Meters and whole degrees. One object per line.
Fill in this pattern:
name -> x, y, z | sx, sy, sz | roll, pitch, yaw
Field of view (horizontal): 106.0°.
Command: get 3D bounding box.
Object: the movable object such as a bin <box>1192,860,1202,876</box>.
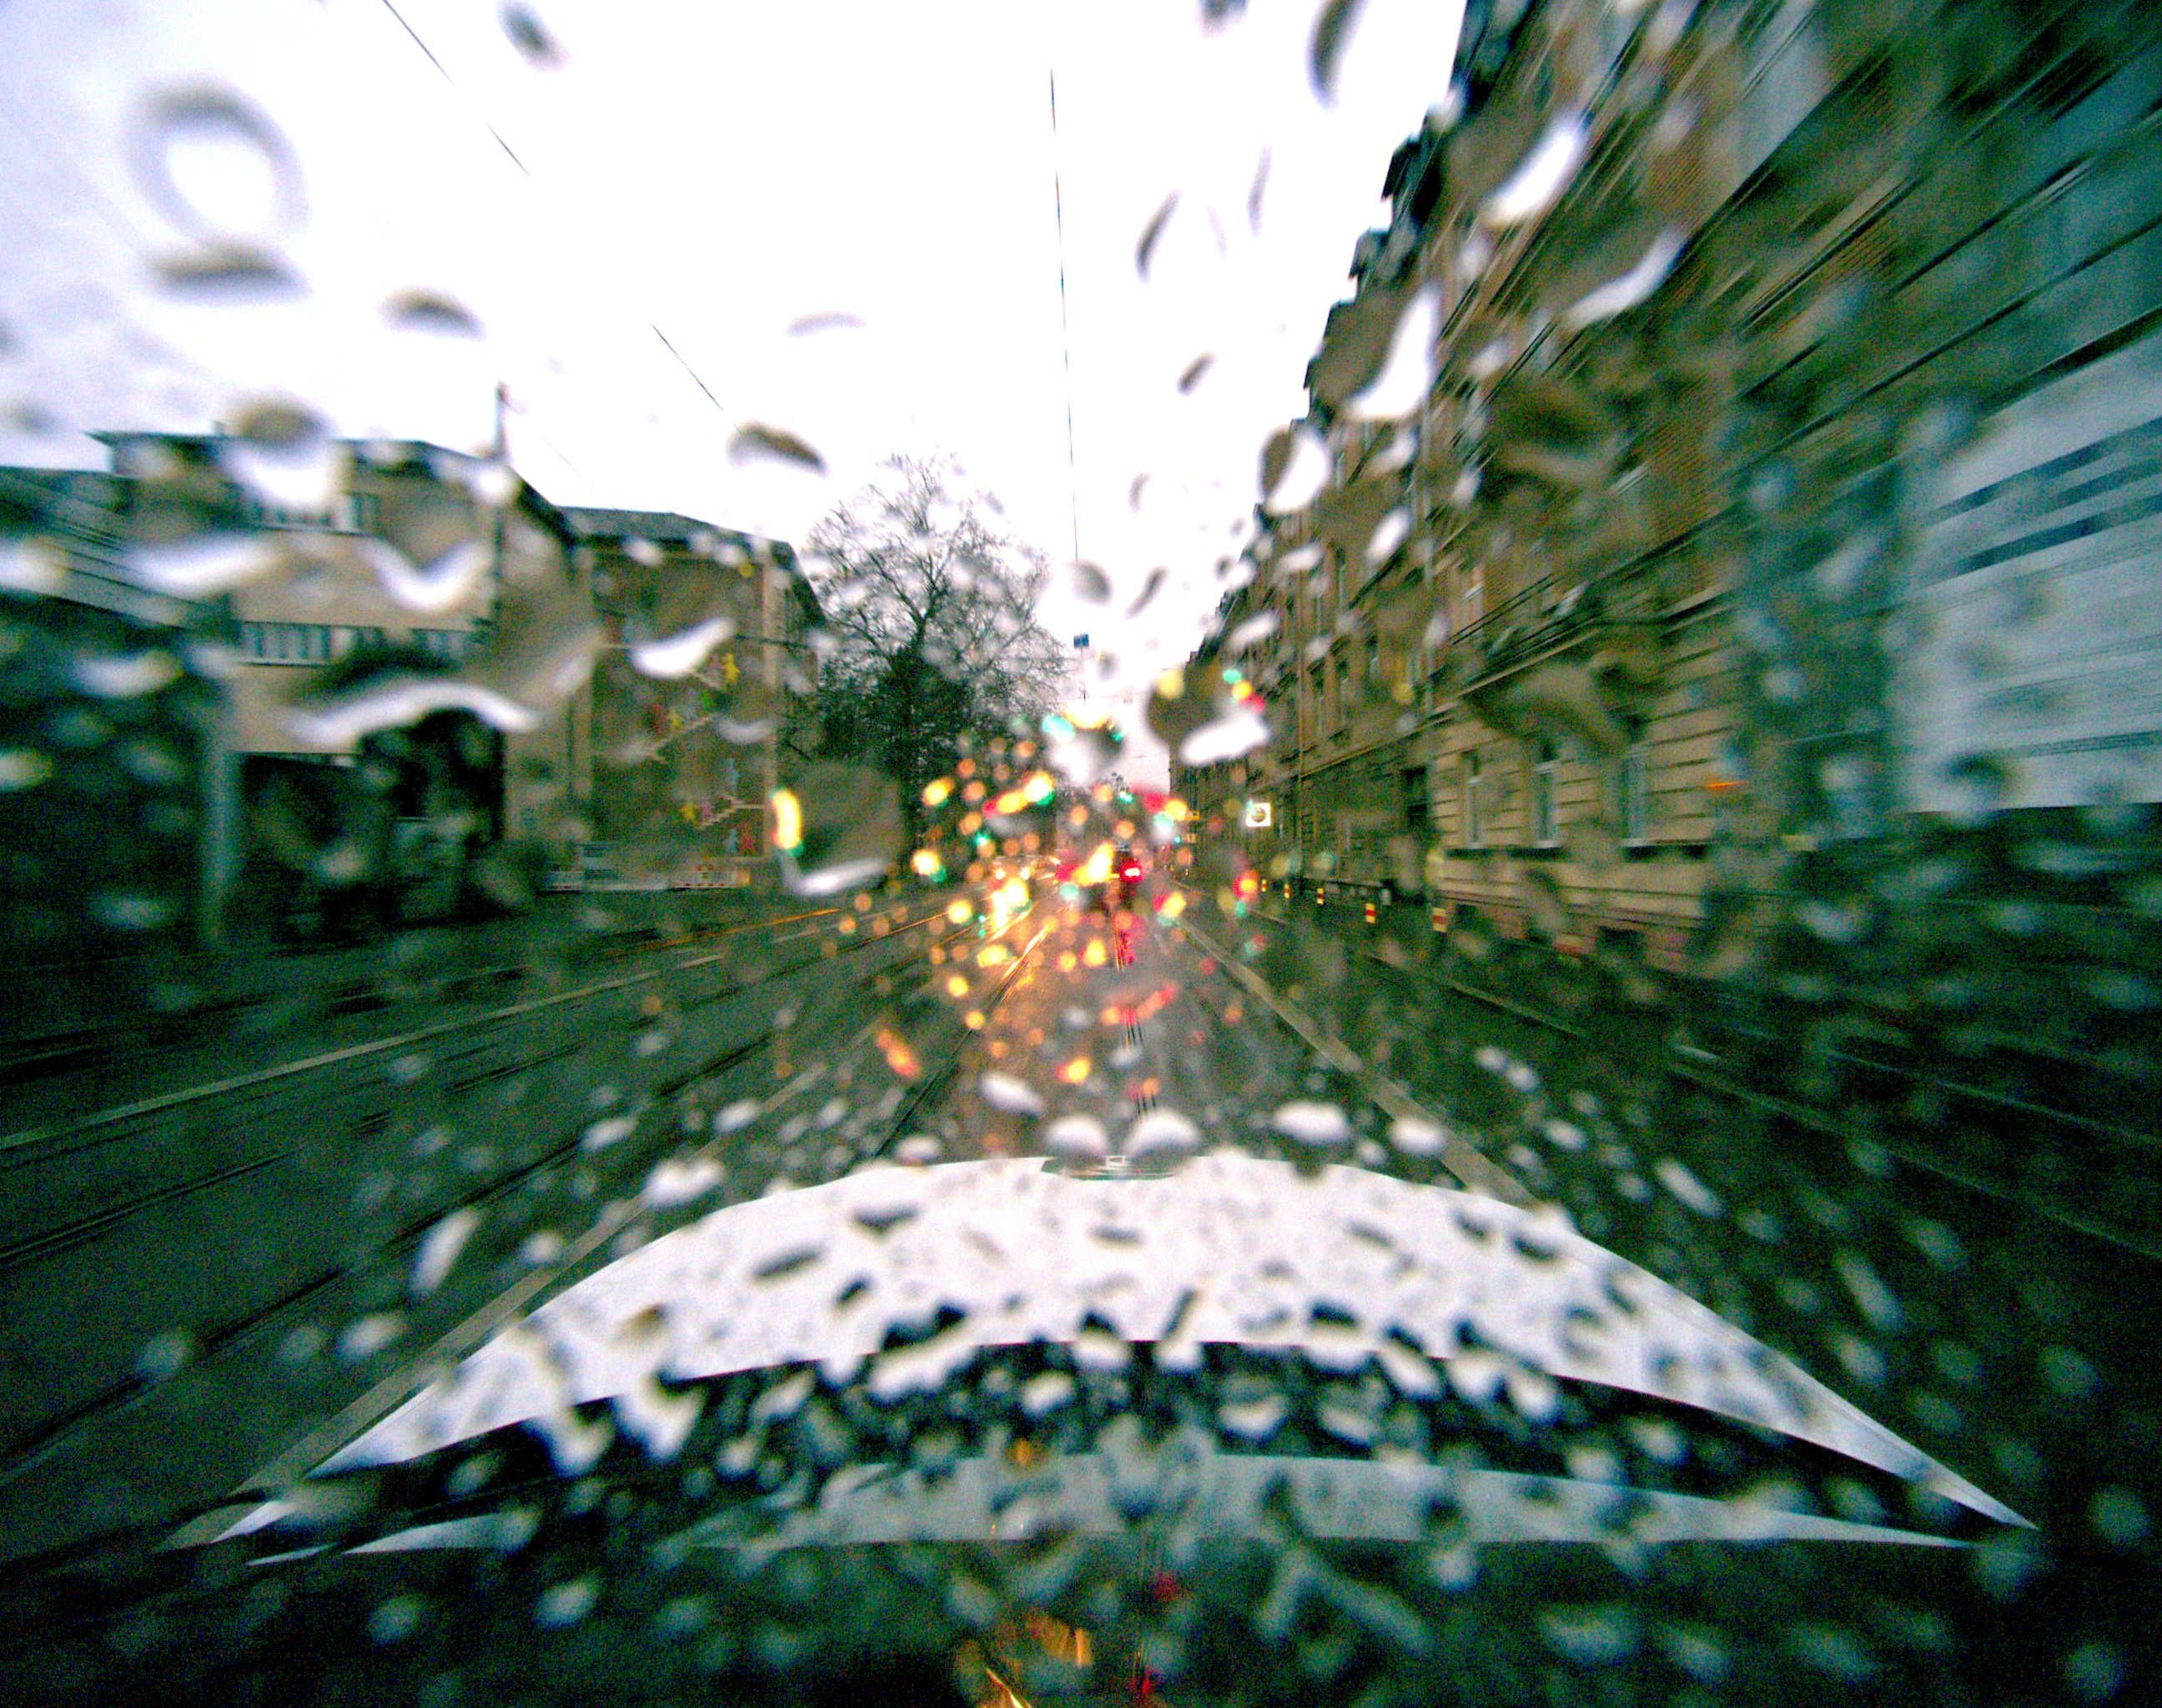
movable object such as a bin -> 8.139, 0.976, 57.010 | 0.638, 1.055, 0.744 | 0, -1, 2

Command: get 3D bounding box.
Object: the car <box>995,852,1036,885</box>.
car -> -3.056, 0.678, 38.700 | 1.524, 1.481, 3.563 | -1, 0, 2

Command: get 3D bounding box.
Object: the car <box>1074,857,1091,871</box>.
car -> 0.239, 1.387, 112.820 | 1.985, 2.014, 4.004 | 0, -1, 4

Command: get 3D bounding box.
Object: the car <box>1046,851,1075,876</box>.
car -> -1.950, 0.920, 79.739 | 2.437, 2.347, 5.847 | -1, -1, 2

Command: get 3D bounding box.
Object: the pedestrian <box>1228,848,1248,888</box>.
pedestrian -> 6.791, 0.585, 35.199 | 0.829, 1.701, 0.956 | 0, -1, 10

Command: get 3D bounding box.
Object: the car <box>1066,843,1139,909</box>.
car -> 0.737, 0.623, 24.678 | 1.984, 1.842, 4.005 | 0, 0, 4

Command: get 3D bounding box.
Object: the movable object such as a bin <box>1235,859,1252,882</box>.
movable object such as a bin -> 7.543, 0.756, 37.793 | 0.614, 1.080, 0.487 | -1, 0, -27

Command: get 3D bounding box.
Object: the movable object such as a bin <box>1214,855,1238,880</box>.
movable object such as a bin -> 7.534, 0.698, 42.352 | 0.886, 1.288, 1.260 | -1, 0, -5

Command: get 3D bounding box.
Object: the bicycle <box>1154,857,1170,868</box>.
bicycle -> 8.089, 0.835, 81.643 | 0.795, 1.144, 2.230 | 0, -1, -17

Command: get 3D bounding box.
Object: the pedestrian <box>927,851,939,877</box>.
pedestrian -> -10.294, 0.688, 56.631 | 0.820, 1.815, 1.006 | 0, -1, -9

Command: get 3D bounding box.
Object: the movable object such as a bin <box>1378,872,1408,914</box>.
movable object such as a bin -> 7.151, 0.880, 18.688 | 0.505, 0.931, 0.507 | 0, 0, 0

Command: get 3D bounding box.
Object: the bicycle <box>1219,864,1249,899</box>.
bicycle -> 5.290, 0.922, 28.267 | 0.681, 1.156, 2.189 | 0, -1, 2

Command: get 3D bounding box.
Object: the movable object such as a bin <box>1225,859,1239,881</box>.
movable object such as a bin -> 7.525, 0.810, 40.594 | 0.606, 1.082, 0.602 | -1, 0, 17

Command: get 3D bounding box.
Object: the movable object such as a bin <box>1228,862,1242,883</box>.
movable object such as a bin -> 7.228, 0.864, 38.262 | 0.490, 0.929, 0.422 | -1, 0, -25

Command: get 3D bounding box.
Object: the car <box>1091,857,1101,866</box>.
car -> 3.092, 1.570, 169.462 | 1.986, 2.014, 4.001 | 0, -1, 2

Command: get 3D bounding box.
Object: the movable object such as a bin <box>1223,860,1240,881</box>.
movable object such as a bin -> 7.611, 0.839, 41.257 | 0.759, 1.038, 0.602 | -1, 0, 16

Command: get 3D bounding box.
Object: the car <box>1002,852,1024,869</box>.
car -> -6.538, 0.618, 78.777 | 1.979, 1.615, 4.425 | 0, -1, -2
